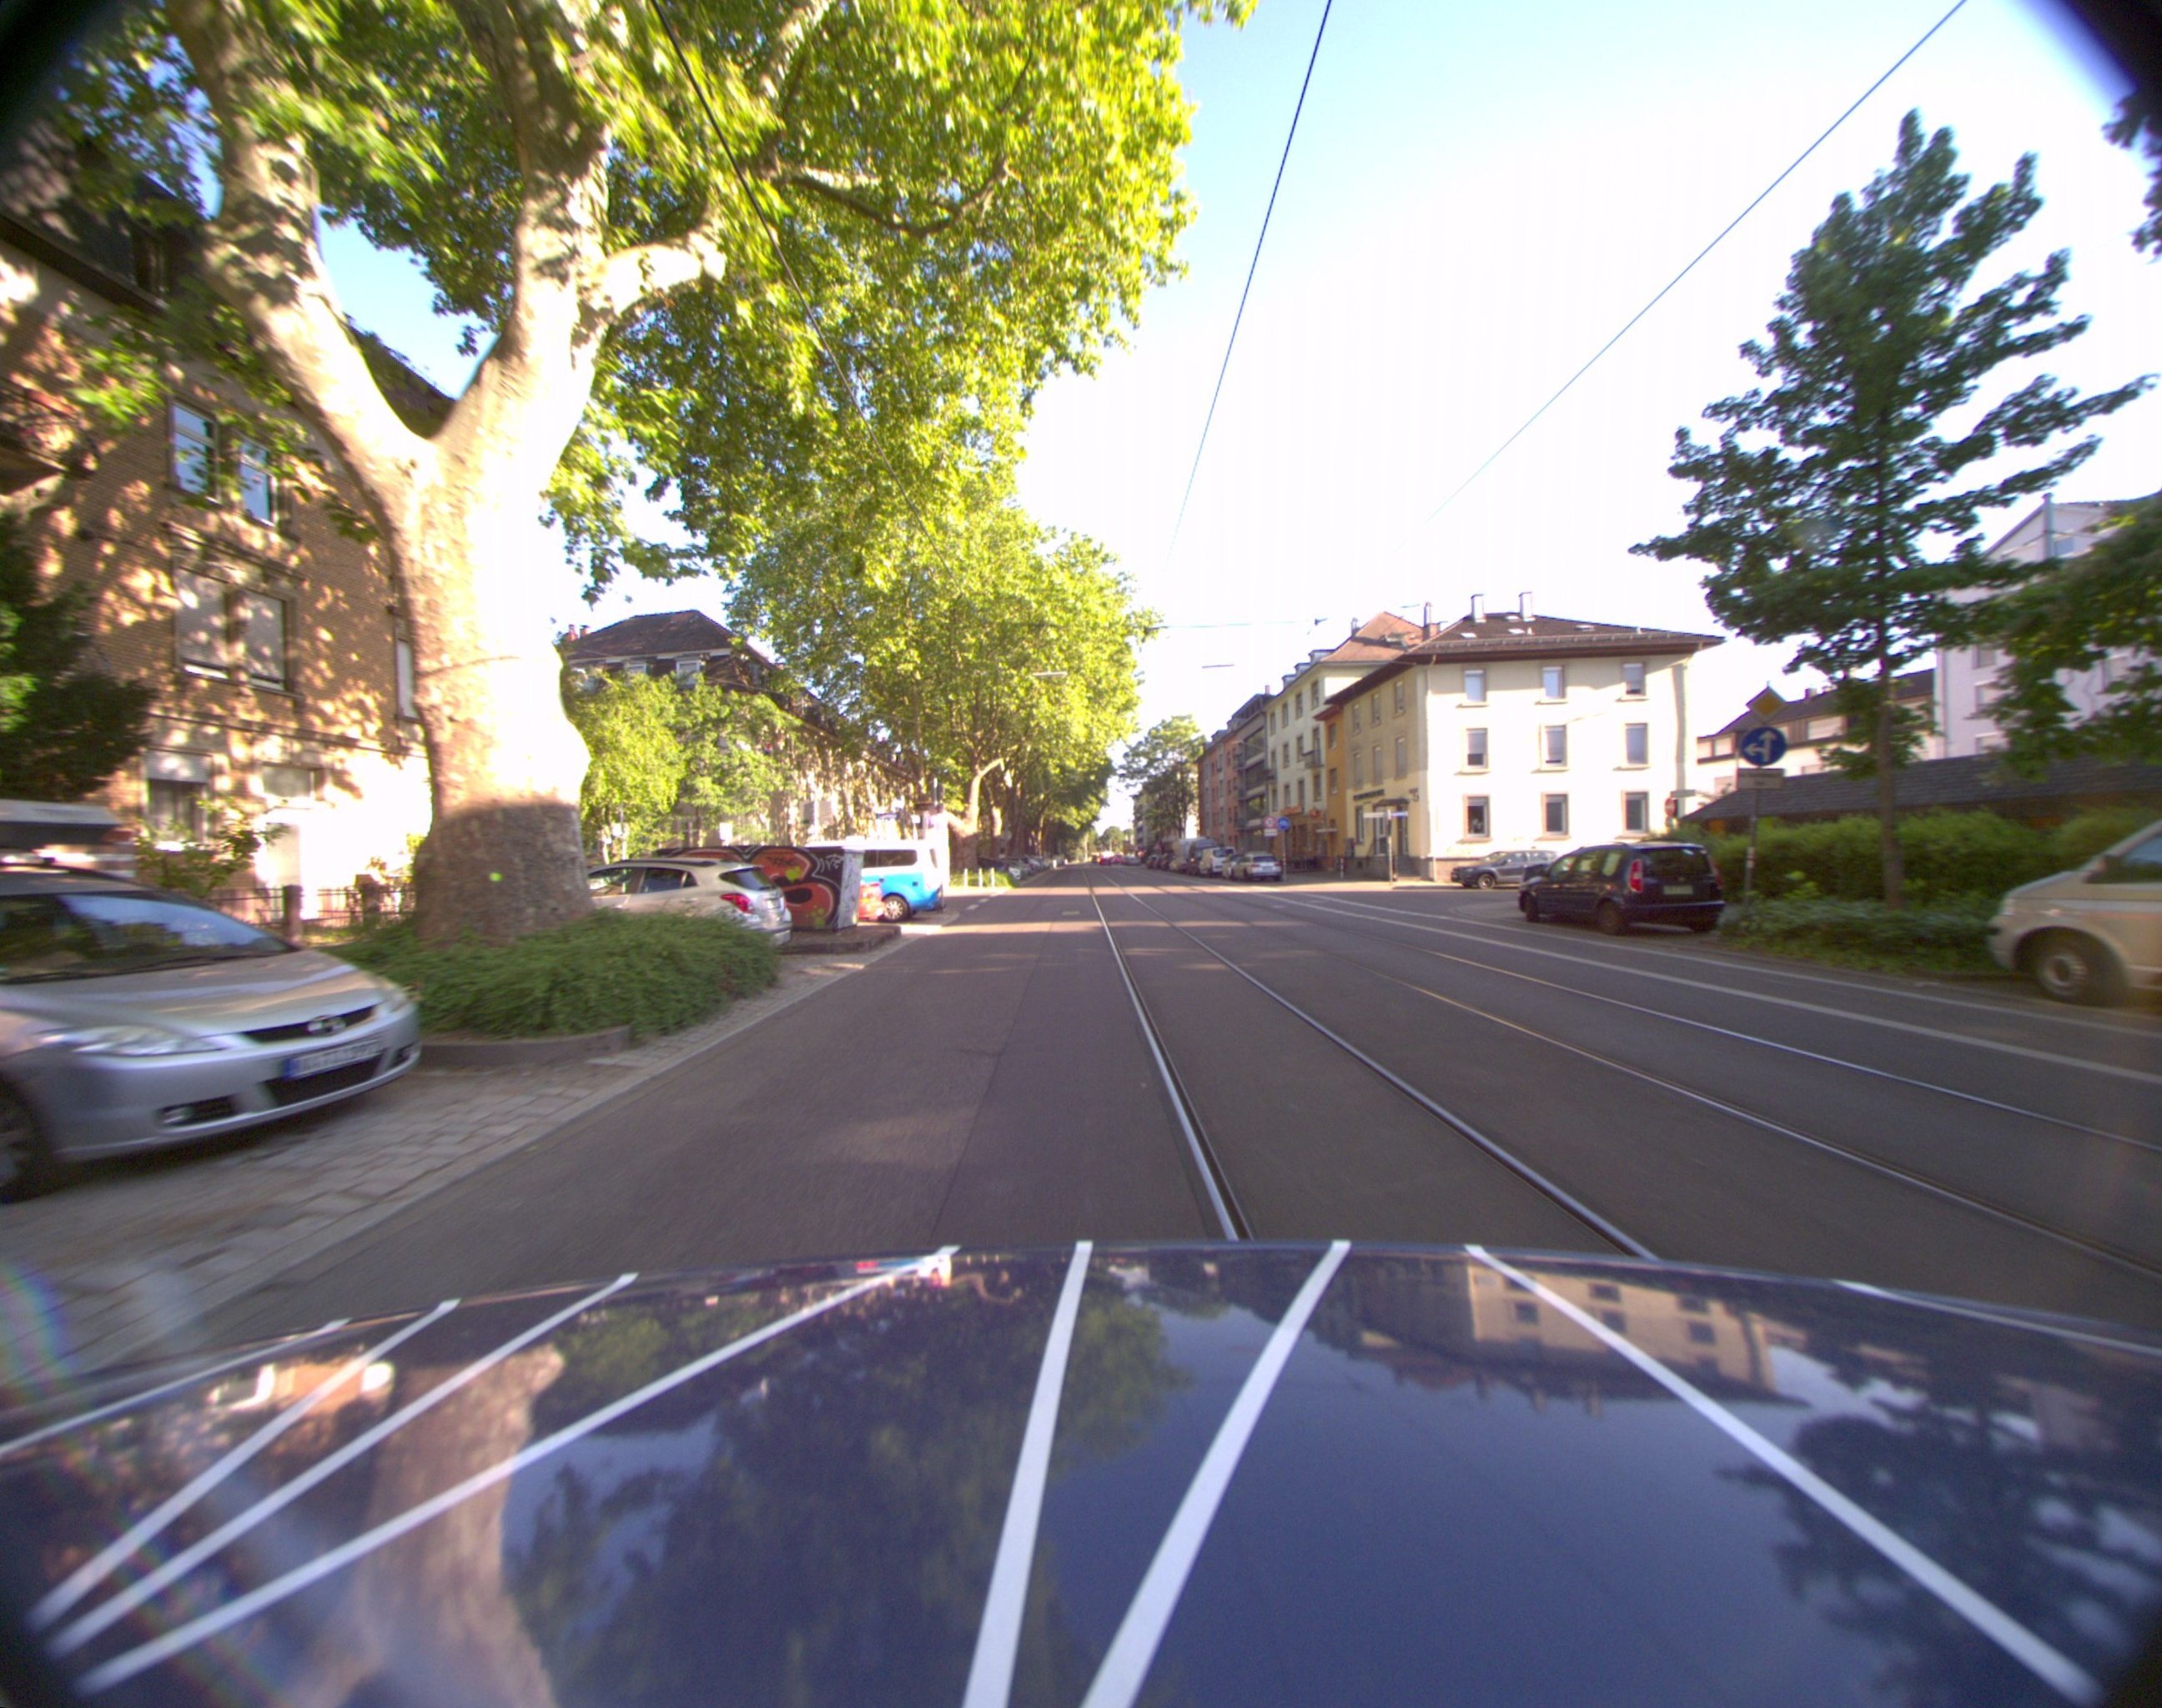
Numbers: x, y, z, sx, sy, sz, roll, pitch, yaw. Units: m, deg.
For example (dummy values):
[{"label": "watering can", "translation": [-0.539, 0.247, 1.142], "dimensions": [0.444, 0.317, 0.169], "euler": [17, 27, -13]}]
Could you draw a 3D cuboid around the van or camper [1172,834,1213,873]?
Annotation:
[{"label": "van or camper", "translation": [9.483, -0.039, 65.027], "dimensions": [2.423, 2.960, 5.990], "euler": [-5, 0, 1]}]

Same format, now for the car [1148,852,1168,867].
[{"label": "car", "translation": [9.281, 0.608, 91.662], "dimensions": [1.791, 1.660, 4.434], "euler": [-2, 0, -1]}]

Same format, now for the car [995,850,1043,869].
[{"label": "car", "translation": [-6.237, 0.544, 76.606], "dimensions": [4.611, 1.781, 1.893], "euler": [-1, 0, 3]}]

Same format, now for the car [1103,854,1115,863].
[{"label": "car", "translation": [4.827, 0.762, 131.337], "dimensions": [1.769, 1.448, 3.585], "euler": [-1, 0, 0]}]

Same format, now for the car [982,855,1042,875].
[{"label": "car", "translation": [-5.595, 0.916, 61.693], "dimensions": [4.611, 1.557, 1.893], "euler": [-1, 0, 3]}]

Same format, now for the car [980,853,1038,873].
[{"label": "car", "translation": [-5.987, 0.765, 63.413], "dimensions": [4.611, 1.631, 1.893], "euler": [-1, 0, 3]}]

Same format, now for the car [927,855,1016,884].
[{"label": "car", "translation": [-6.216, 0.877, 43.499], "dimensions": [4.810, 1.621, 1.893], "euler": [-1, 0, 0]}]

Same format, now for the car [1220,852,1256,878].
[{"label": "car", "translation": [9.582, 0.630, 46.445], "dimensions": [1.575, 1.484, 2.882], "euler": [-2, 0, 0]}]

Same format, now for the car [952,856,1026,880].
[{"label": "car", "translation": [-6.094, 0.931, 50.693], "dimensions": [4.611, 1.485, 1.893], "euler": [-1, 0, 3]}]

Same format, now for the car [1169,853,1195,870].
[{"label": "car", "translation": [9.452, 0.705, 71.305], "dimensions": [1.791, 1.506, 3.473], "euler": [-2, 0, -1]}]

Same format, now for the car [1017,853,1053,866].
[{"label": "car", "translation": [-6.244, 0.693, 102.979], "dimensions": [4.611, 1.705, 1.893], "euler": [-1, 0, 3]}]

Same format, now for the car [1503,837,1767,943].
[{"label": "car", "translation": [10.138, 0.580, 14.414], "dimensions": [1.997, 1.680, 4.261], "euler": [-1, 0, 2]}]

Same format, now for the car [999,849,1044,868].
[{"label": "car", "translation": [-6.501, 0.498, 82.827], "dimensions": [4.636, 2.001, 1.893], "euler": [-1, 0, 3]}]

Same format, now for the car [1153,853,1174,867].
[{"label": "car", "translation": [9.422, 0.695, 87.010], "dimensions": [1.791, 1.462, 4.434], "euler": [-2, 0, -1]}]

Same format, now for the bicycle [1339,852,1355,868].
[{"label": "bicycle", "translation": [15.321, 0.325, 43.787], "dimensions": [0.362, 0.923, 1.647], "euler": [-1, 0, 0]}]

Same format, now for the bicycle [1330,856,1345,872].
[{"label": "bicycle", "translation": [15.344, 0.581, 45.499], "dimensions": [0.362, 0.923, 1.647], "euler": [-1, 0, 0]}]

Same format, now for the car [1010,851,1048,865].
[{"label": "car", "translation": [-6.720, 0.562, 98.341], "dimensions": [4.611, 1.705, 1.893], "euler": [-1, 0, 3]}]

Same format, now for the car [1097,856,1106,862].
[{"label": "car", "translation": [4.597, 1.118, 170.075], "dimensions": [1.769, 1.448, 3.585], "euler": [-1, 0, 0]}]

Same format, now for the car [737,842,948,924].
[{"label": "car", "translation": [-6.070, 0.710, 19.894], "dimensions": [4.859, 2.002, 2.193], "euler": [0, 0, -3]}]

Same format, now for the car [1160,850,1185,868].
[{"label": "car", "translation": [9.252, 0.466, 76.959], "dimensions": [1.791, 1.743, 4.434], "euler": [-2, 0, -1]}]

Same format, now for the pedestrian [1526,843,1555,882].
[{"label": "pedestrian", "translation": [19.628, 0.344, 32.473], "dimensions": [0.774, 1.579, 0.753], "euler": [-2, 4, 4]}]

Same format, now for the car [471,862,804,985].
[{"label": "car", "translation": [-6.258, 0.944, 11.095], "dimensions": [3.792, 1.609, 1.790], "euler": [0, 0, -2]}]

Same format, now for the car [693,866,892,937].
[{"label": "car", "translation": [-6.367, 1.019, 17.093], "dimensions": [3.792, 1.479, 1.790], "euler": [0, 0, -2]}]

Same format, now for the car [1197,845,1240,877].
[{"label": "car", "translation": [9.388, 0.430, 52.250], "dimensions": [1.928, 2.034, 4.940], "euler": [-2, 0, -1]}]

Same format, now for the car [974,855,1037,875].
[{"label": "car", "translation": [-5.863, 0.872, 59.071], "dimensions": [4.611, 1.485, 1.893], "euler": [-1, 0, 3]}]

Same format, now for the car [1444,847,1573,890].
[{"label": "car", "translation": [17.090, 0.562, 30.571], "dimensions": [4.071, 1.608, 1.966], "euler": [-1, 1, 3]}]

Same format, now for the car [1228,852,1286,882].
[{"label": "car", "translation": [9.554, 0.668, 41.741], "dimensions": [1.776, 1.484, 4.940], "euler": [-2, 0, -3]}]

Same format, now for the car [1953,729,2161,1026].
[{"label": "car", "translation": [10.279, 0.179, 5.242], "dimensions": [2.310, 2.493, 5.342], "euler": [-1, 0, -2]}]

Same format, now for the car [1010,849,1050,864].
[{"label": "car", "translation": [-6.051, 0.307, 90.833], "dimensions": [4.611, 1.781, 1.893], "euler": [-1, 0, 3]}]

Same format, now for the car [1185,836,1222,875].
[{"label": "car", "translation": [9.336, 0.077, 58.194], "dimensions": [1.928, 2.730, 4.546], "euler": [-5, 0, 0]}]

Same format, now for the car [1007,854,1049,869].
[{"label": "car", "translation": [-6.130, 0.893, 88.350], "dimensions": [4.611, 1.631, 1.893], "euler": [-1, 0, 3]}]

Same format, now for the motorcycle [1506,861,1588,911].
[{"label": "motorcycle", "translation": [11.485, 0.775, 18.819], "dimensions": [0.674, 1.132, 2.151], "euler": [-4, -1, 2]}]

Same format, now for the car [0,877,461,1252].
[{"label": "car", "translation": [-6.410, 1.015, 4.369], "dimensions": [4.210, 1.609, 1.818], "euler": [-1, 1, 2]}]

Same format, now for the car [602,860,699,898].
[{"label": "car", "translation": [-19.666, 1.116, 34.915], "dimensions": [1.728, 1.573, 4.003], "euler": [-1, 0, 9]}]

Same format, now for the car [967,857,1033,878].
[{"label": "car", "translation": [-6.020, 1.008, 56.796], "dimensions": [4.611, 1.485, 1.893], "euler": [-1, 0, 3]}]
